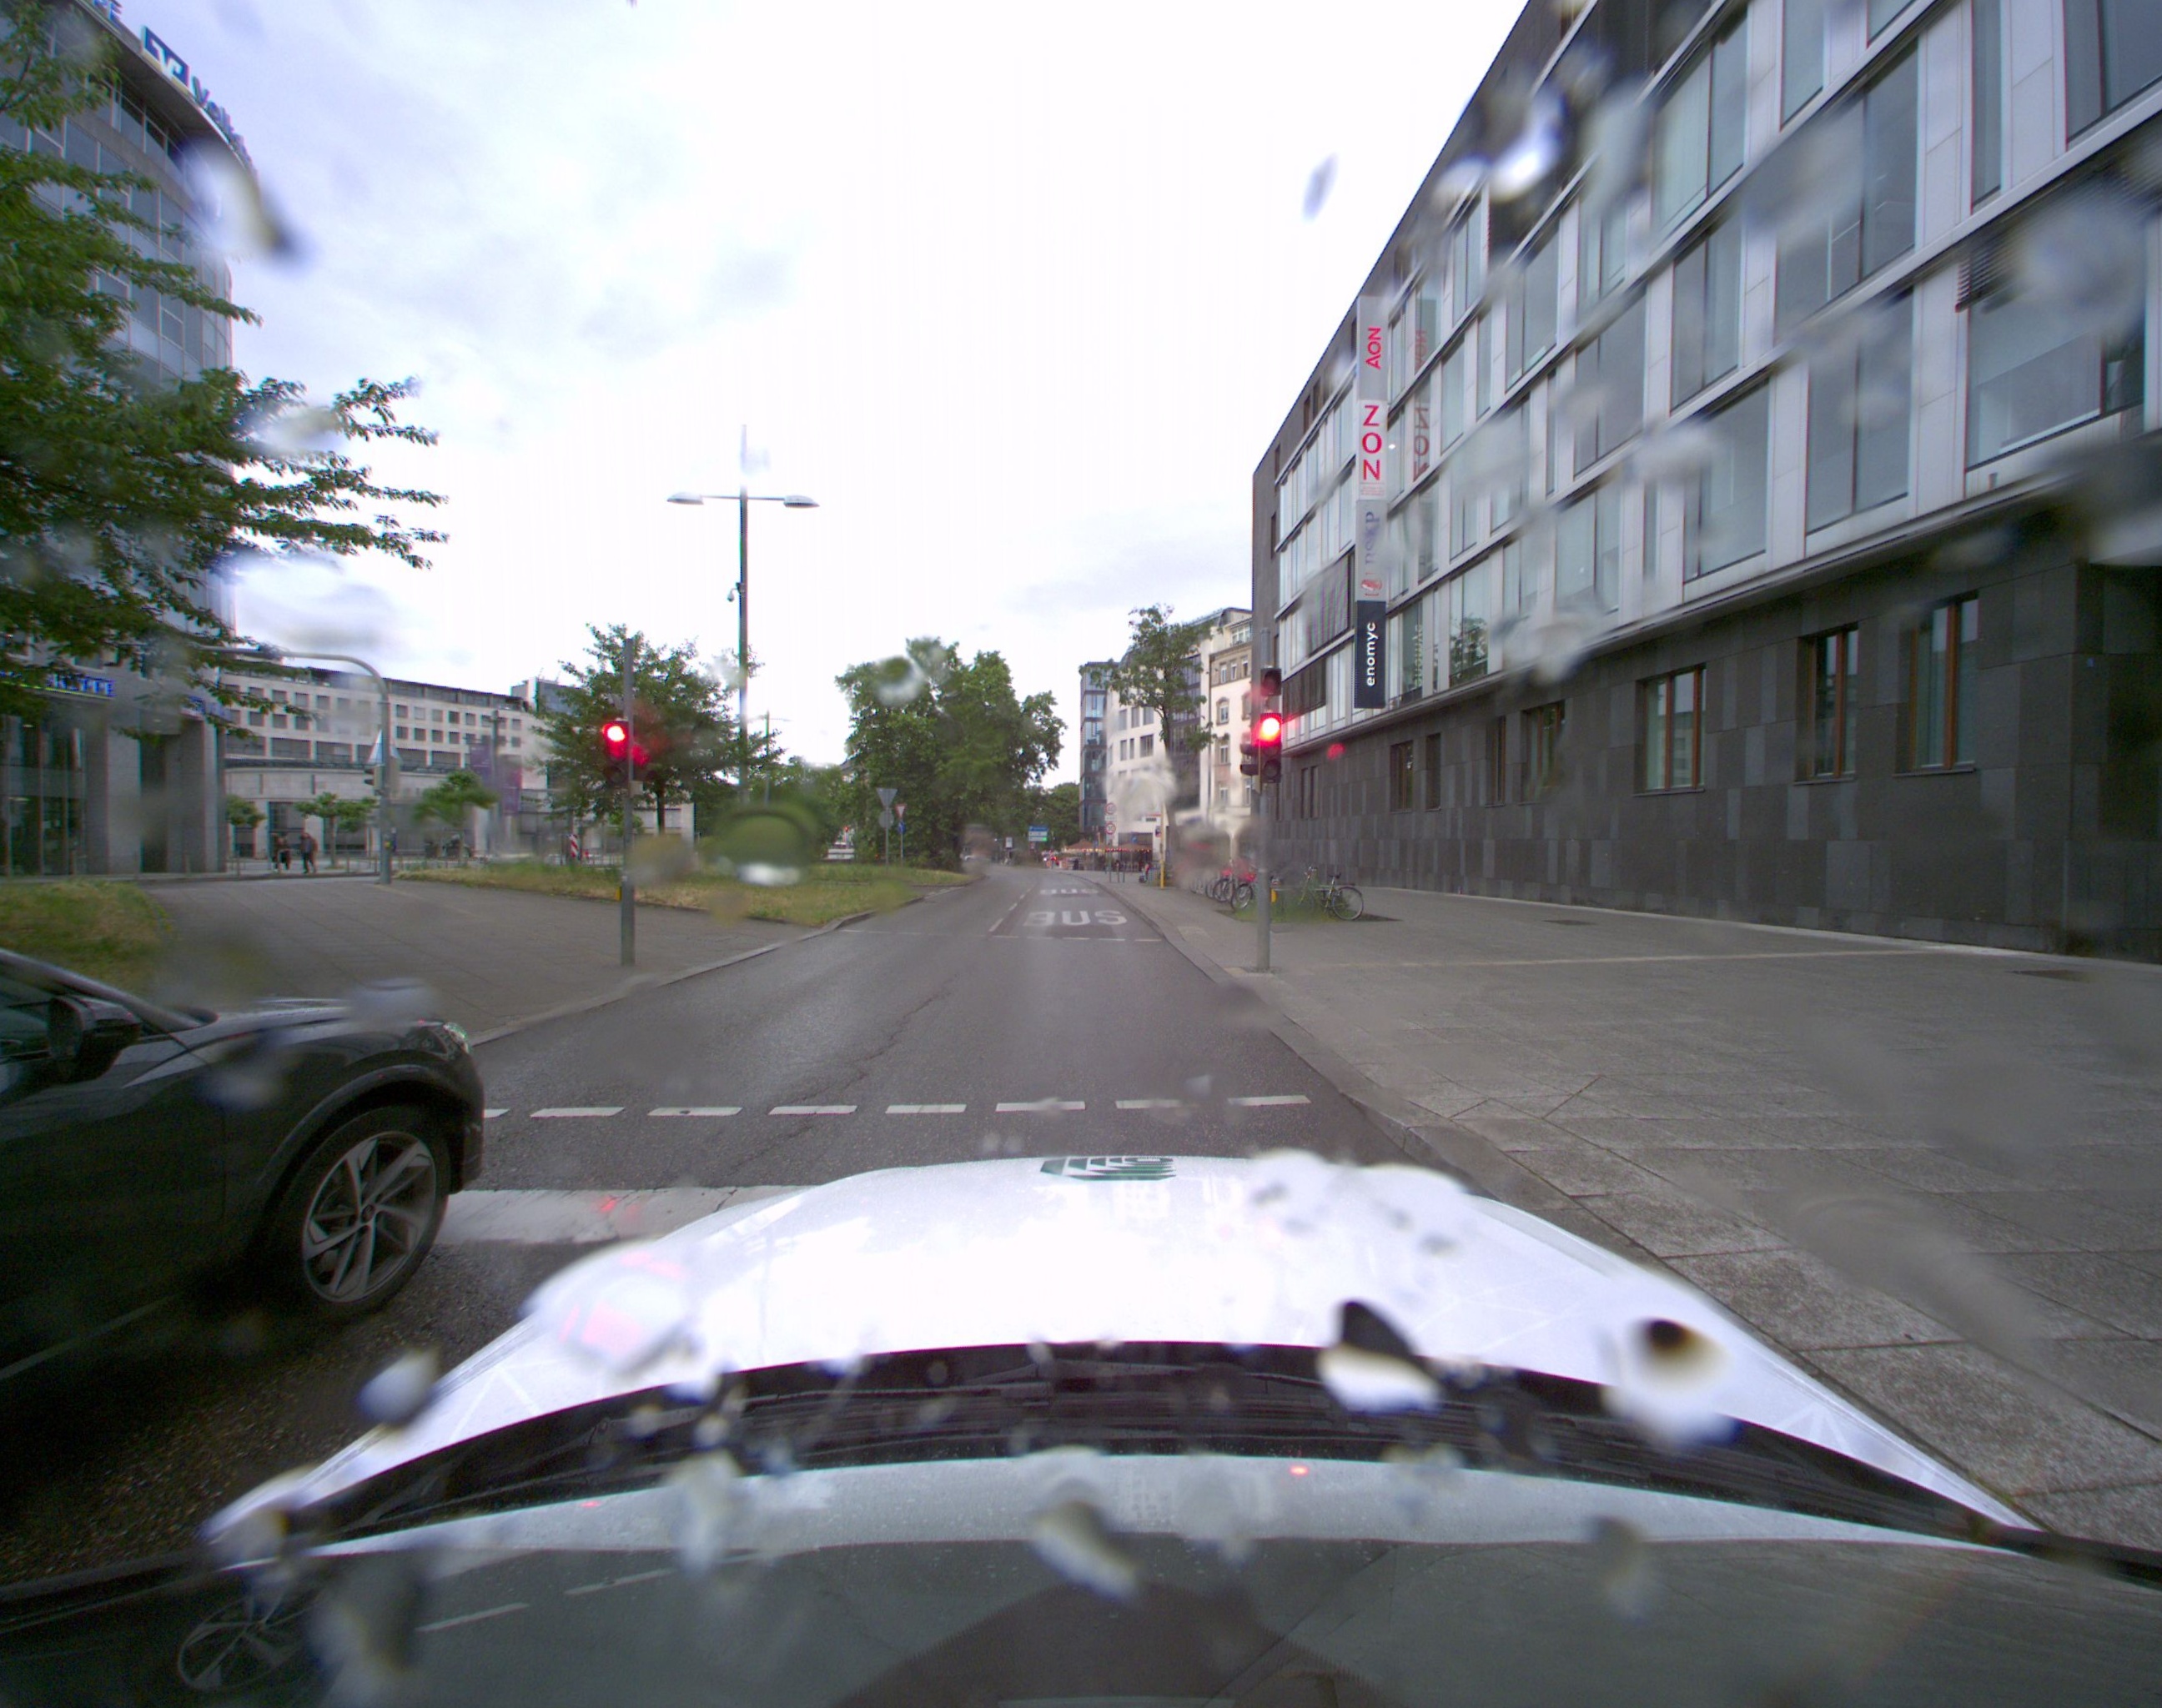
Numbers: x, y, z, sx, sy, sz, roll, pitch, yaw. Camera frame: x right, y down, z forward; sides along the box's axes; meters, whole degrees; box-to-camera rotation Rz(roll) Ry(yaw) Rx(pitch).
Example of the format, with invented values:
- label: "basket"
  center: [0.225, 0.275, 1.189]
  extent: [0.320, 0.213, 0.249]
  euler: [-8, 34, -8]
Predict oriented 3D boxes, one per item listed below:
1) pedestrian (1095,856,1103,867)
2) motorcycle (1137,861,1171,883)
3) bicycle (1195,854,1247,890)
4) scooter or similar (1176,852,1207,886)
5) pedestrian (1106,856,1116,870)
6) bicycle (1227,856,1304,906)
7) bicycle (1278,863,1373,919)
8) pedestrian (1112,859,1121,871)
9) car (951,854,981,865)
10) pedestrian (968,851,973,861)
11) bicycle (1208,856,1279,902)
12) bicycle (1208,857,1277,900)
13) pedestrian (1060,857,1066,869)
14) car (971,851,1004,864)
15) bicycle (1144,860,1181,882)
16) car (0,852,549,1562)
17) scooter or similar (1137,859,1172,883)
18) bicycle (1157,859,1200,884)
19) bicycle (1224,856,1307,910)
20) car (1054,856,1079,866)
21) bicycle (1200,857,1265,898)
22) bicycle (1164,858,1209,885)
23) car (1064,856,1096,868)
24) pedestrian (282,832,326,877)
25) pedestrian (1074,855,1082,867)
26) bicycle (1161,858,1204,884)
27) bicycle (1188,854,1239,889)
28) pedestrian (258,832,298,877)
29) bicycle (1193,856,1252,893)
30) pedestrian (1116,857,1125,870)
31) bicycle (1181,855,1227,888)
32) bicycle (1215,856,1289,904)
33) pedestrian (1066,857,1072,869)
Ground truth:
- label: "pedestrian"
  center: [2.080, 0.901, 96.414]
  extent: [0.816, 1.326, 0.634]
  euler: [3, -1, -6]
- label: "motorcycle"
  center: [4.099, 0.998, 45.491]
  extent: [1.790, 1.140, 0.594]
  euler: [2, -1, -8]
- label: "bicycle"
  center: [4.539, 0.571, 26.428]
  extent: [1.533, 1.140, 0.687]
  euler: [0, -1, -9]
- label: "scooter or similar"
  center: [4.089, 0.558, 30.160]
  extent: [1.105, 1.258, 0.301]
  euler: [0, -1, -9]
- label: "pedestrian"
  center: [2.980, 0.886, 80.969]
  extent: [0.773, 1.326, 0.634]
  euler: [3, -1, -7]
- label: "bicycle"
  center: [4.515, 0.645, 19.971]
  extent: [1.729, 1.183, 0.687]
  euler: [-1, 0, -9]
- label: "bicycle"
  center: [4.960, 0.735, 16.583]
  extent: [1.729, 1.070, 0.687]
  euler: [-1, 0, -9]
- label: "pedestrian"
  center: [3.809, 1.177, 87.460]
  extent: [0.630, 1.326, 0.630]
  euler: [3, -1, -27]
- label: "car"
  center: [-18.144, 0.831, 128.480]
  extent: [4.304, 1.666, 1.959]
  euler: [0, -1, 10]
- label: "pedestrian"
  center: [-19.072, 0.330, 140.185]
  extent: [0.719, 1.701, 0.619]
  euler: [0, -1, 5]
- label: "bicycle"
  center: [4.330, 0.648, 21.790]
  extent: [1.729, 1.183, 0.687]
  euler: [-1, 0, -9]
- label: "bicycle"
  center: [4.488, 0.660, 22.675]
  extent: [1.729, 1.140, 0.687]
  euler: [-1, 0, -9]
- label: "pedestrian"
  center: [-2.126, 1.006, 94.002]
  extent: [0.605, 1.326, 0.566]
  euler: [3, -1, -6]
- label: "car"
  center: [-13.879, 0.527, 120.926]
  extent: [4.723, 1.691, 2.003]
  euler: [1, 0, -3]
- label: "bicycle"
  center: [4.283, 0.888, 42.658]
  extent: [1.793, 1.108, 0.668]
  euler: [2, -1, -8]
- label: "car"
  center: [-3.227, 0.753, 1.394]
  extent: [1.856, 1.517, 4.342]
  euler: [0, 0, -2]
- label: "scooter or similar"
  center: [4.034, 0.926, 44.756]
  extent: [1.790, 1.243, 0.594]
  euler: [2, -1, -8]
- label: "bicycle"
  center: [4.339, 0.773, 36.198]
  extent: [1.792, 1.068, 0.555]
  euler: [2, -1, -7]
- label: "bicycle"
  center: [4.249, 0.652, 18.786]
  extent: [1.729, 1.183, 0.687]
  euler: [-1, 0, -9]
- label: "car"
  center: [-2.353, 1.106, 132.086]
  extent: [3.950, 1.510, 1.811]
  euler: [2, 0, 43]
- label: "bicycle"
  center: [4.379, 0.658, 23.546]
  extent: [1.729, 1.140, 0.687]
  euler: [-1, 0, -9]
- label: "bicycle"
  center: [4.478, 0.744, 34.454]
  extent: [1.792, 1.068, 0.555]
  euler: [2, -1, -7]
- label: "car"
  center: [-0.144, 1.204, 124.893]
  extent: [4.723, 1.691, 2.003]
  euler: [1, 0, -3]
- label: "pedestrian"
  center: [-35.380, 0.008, 37.106]
  extent: [1.054, 2.014, 1.030]
  euler: [0, -1, -15]
- label: "pedestrian"
  center: [-0.326, 0.798, 96.092]
  extent: [0.816, 1.326, 0.634]
  euler: [3, -1, -6]
- label: "bicycle"
  center: [4.425, 0.753, 35.495]
  extent: [1.792, 1.068, 0.555]
  euler: [2, -1, -7]
- label: "bicycle"
  center: [4.412, 0.587, 27.198]
  extent: [1.533, 1.140, 0.687]
  euler: [0, -1, -9]
- label: "pedestrian"
  center: [-36.355, 0.013, 36.892]
  extent: [0.851, 2.014, 1.030]
  euler: [0, -1, -15]
- label: "bicycle"
  center: [4.448, 0.656, 25.680]
  extent: [1.705, 1.140, 0.687]
  euler: [0, -1, -9]
- label: "pedestrian"
  center: [4.168, 0.977, 86.272]
  extent: [0.630, 1.326, 0.630]
  euler: [3, -1, -27]
- label: "bicycle"
  center: [4.376, 0.626, 29.011]
  extent: [1.533, 1.140, 0.660]
  euler: [0, -1, -9]
- label: "bicycle"
  center: [4.358, 0.650, 20.813]
  extent: [1.729, 1.183, 0.687]
  euler: [-1, 0, -9]
- label: "pedestrian"
  center: [-1.412, 1.049, 94.073]
  extent: [0.605, 1.326, 0.566]
  euler: [3, -1, -6]
